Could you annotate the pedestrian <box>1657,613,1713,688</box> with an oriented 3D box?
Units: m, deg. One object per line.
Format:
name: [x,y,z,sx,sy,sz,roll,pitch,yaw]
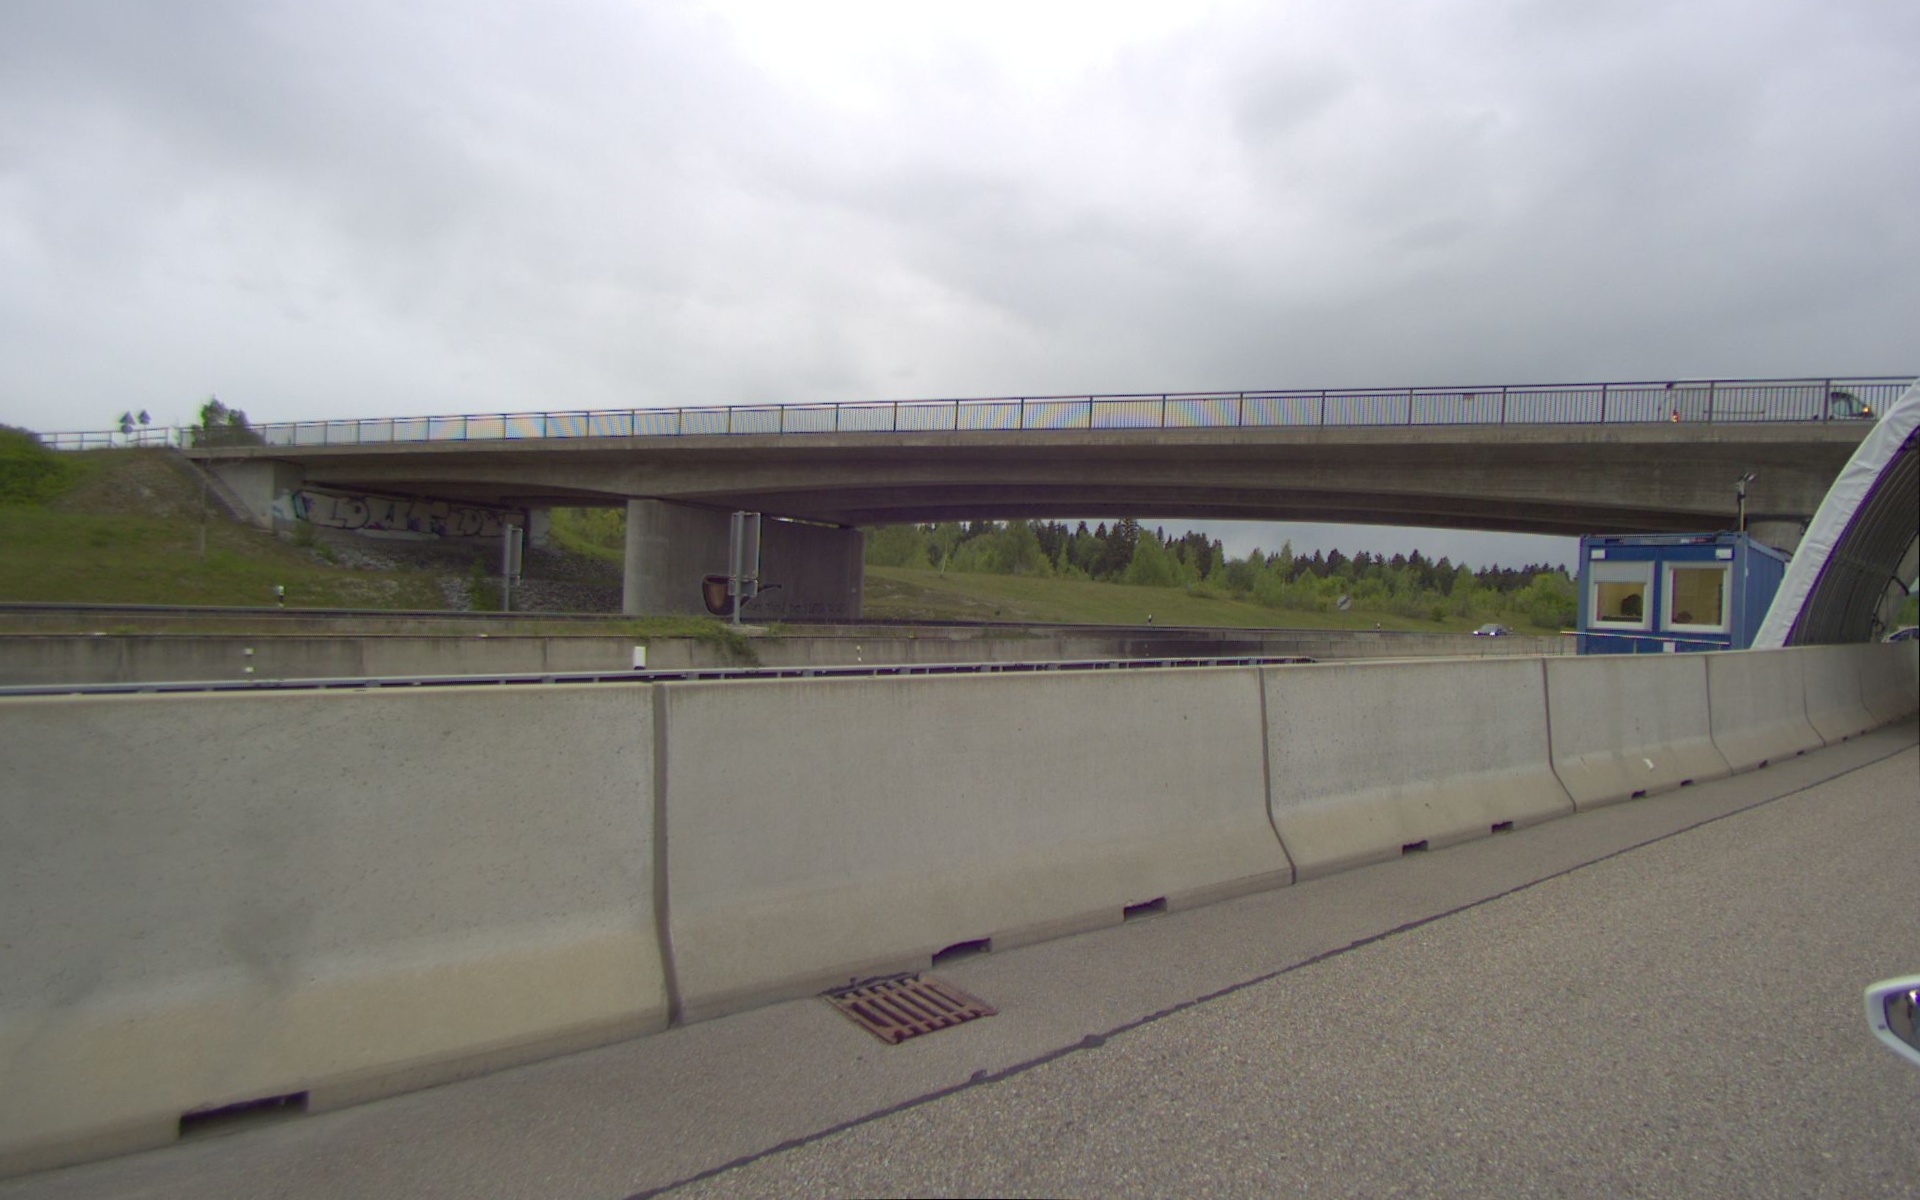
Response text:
pedestrian: [13.654,0.940,18.919,0.618,1.391,0.609,2,-1,-21]

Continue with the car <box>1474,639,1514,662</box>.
car: [49.415,4.626,92.839,1.964,1.981,5.079,0,-2,44]

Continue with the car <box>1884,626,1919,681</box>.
car: [36.961,2.023,36.396,1.814,2.040,4.797,2,-1,-22]

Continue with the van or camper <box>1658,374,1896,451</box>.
van or camper: [25.128,-5.748,31.155,5.347,1.793,1.896,2,0,22]
